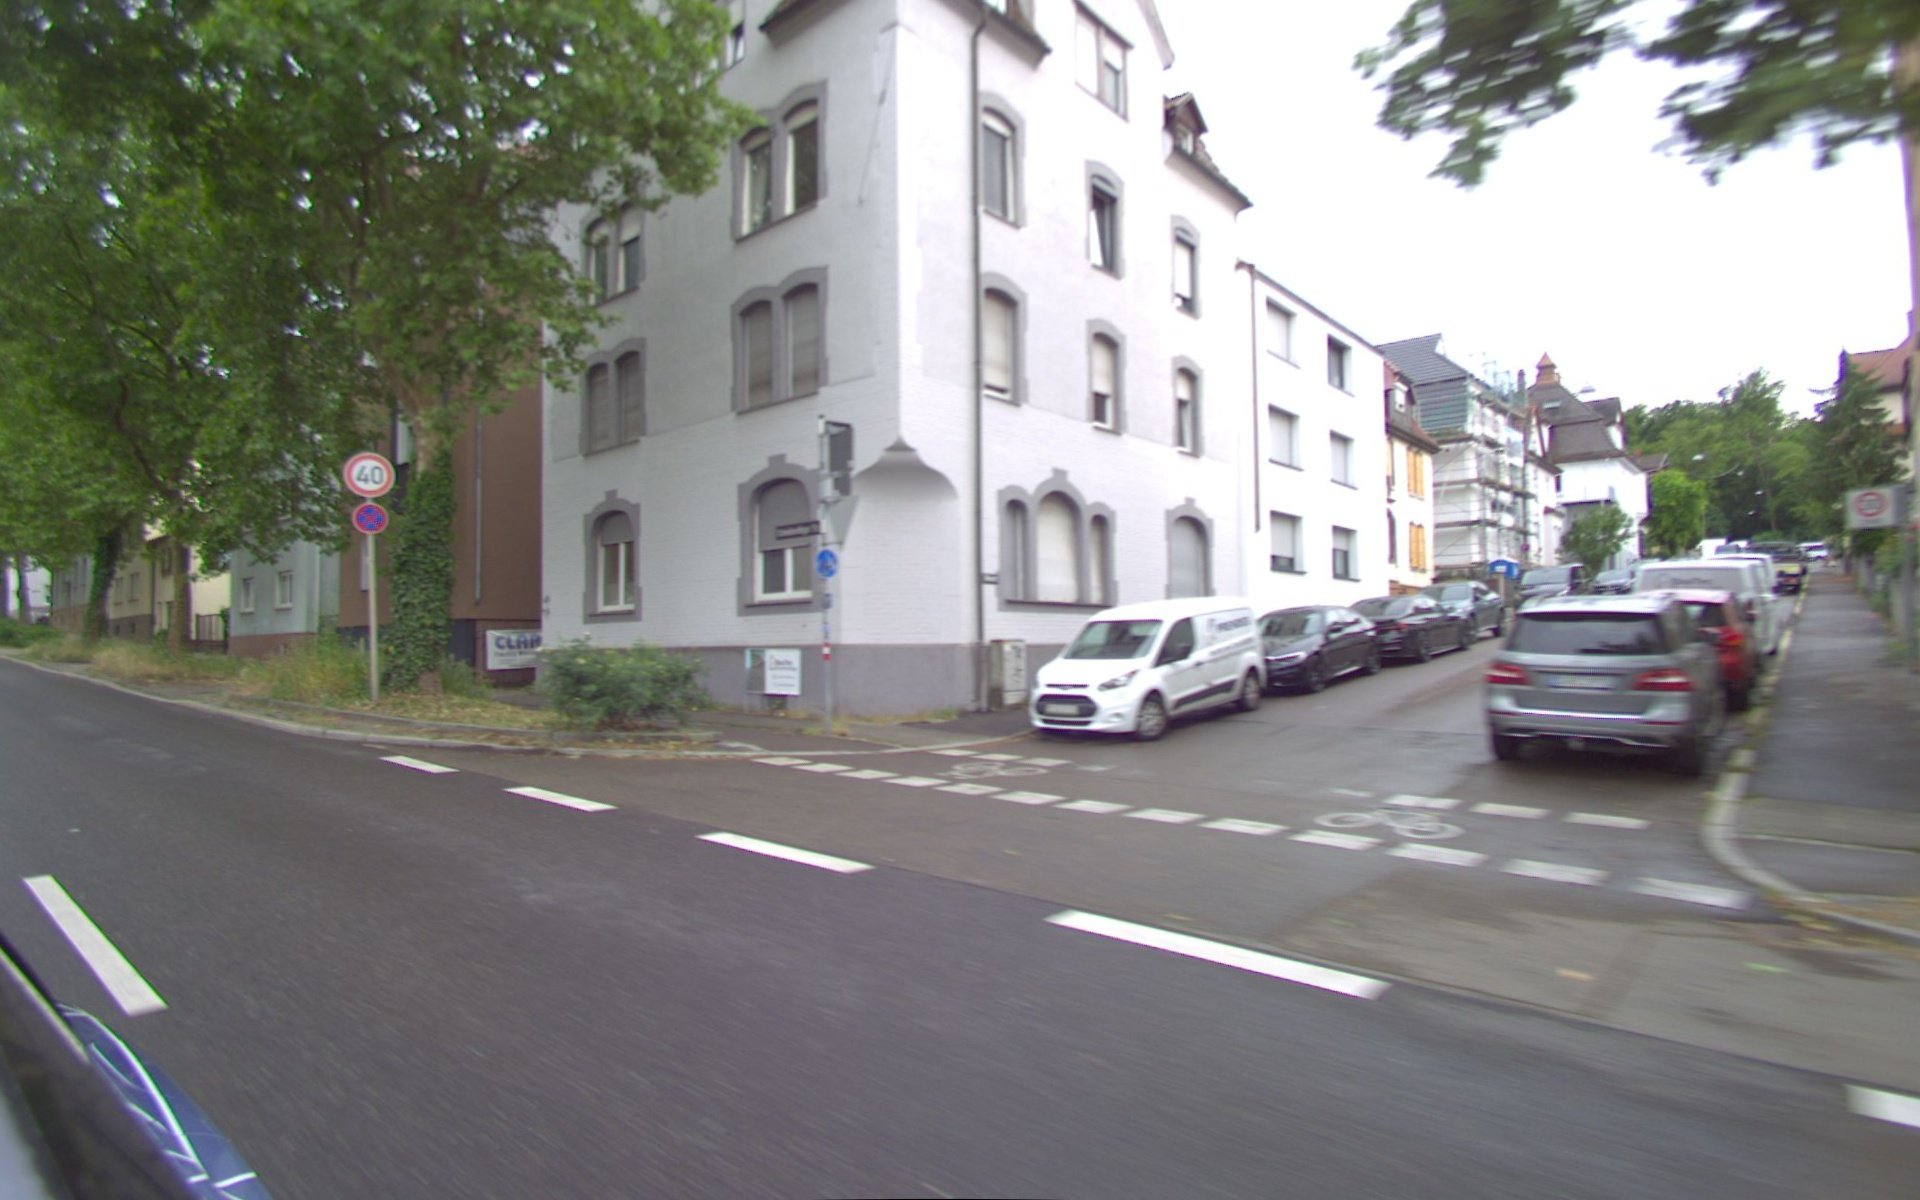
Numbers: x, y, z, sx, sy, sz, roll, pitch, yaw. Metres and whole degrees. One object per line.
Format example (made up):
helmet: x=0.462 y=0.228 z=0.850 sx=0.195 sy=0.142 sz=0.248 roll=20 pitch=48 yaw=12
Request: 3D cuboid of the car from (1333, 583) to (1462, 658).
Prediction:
car: x=9.719 y=0.398 z=22.368 sx=1.634 sy=1.394 sz=3.534 roll=-1 pitch=2 yaw=41

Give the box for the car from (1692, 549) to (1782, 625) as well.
car: x=21.417 y=-0.402 z=27.852 sx=1.720 sy=1.935 sz=3.542 roll=0 pitch=2 yaw=42

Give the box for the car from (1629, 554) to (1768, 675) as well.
car: x=13.834 y=0.182 z=18.868 sx=1.805 sy=1.948 sz=3.990 roll=-1 pitch=2 yaw=40

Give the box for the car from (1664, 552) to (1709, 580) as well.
car: x=48.384 y=-2.246 z=67.356 sx=2.000 sy=1.741 sz=3.944 roll=-1 pitch=0 yaw=42

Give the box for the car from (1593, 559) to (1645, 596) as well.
car: x=31.148 y=-1.064 z=47.799 sx=1.602 sy=1.499 sz=3.338 roll=-1 pitch=4 yaw=42

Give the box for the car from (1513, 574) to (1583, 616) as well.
car: x=21.639 y=-0.201 z=37.201 sx=1.728 sy=1.363 sz=3.184 roll=-1 pitch=2 yaw=40

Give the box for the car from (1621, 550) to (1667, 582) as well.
car: x=38.143 y=-1.918 z=56.373 sx=1.728 sy=1.677 sz=3.534 roll=-1 pitch=2 yaw=41

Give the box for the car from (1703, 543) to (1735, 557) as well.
car: x=95.759 y=-6.260 z=127.664 sx=2.854 sy=1.677 sz=1.413 roll=-2 pitch=2 yaw=13

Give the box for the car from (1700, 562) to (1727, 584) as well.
car: x=65.773 y=-2.334 z=88.319 sx=1.587 sy=1.763 sz=3.818 roll=-1 pitch=0 yaw=42

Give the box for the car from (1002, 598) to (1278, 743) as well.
car: x=2.851 y=0.900 z=15.199 sx=2.019 sy=1.791 sz=4.622 roll=-1 pitch=0 yaw=40

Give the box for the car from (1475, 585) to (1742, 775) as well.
car: x=7.376 y=0.702 z=11.318 sx=2.041 sy=1.623 sz=4.074 roll=-1 pitch=2 yaw=40

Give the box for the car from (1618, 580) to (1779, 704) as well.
car: x=11.027 y=0.529 z=15.013 sx=1.640 sy=1.529 sz=3.784 roll=-1 pitch=1 yaw=40

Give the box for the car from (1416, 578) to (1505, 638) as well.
car: x=13.222 y=0.182 z=26.672 sx=1.338 sy=1.463 sz=3.219 roll=-1 pitch=0 yaw=41

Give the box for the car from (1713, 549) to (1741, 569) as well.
car: x=75.969 y=-4.069 z=100.256 sx=1.999 sy=1.793 sz=3.946 roll=-1 pitch=0 yaw=41

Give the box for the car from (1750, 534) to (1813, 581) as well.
car: x=39.443 y=-2.044 z=48.555 sx=2.107 sy=2.028 sz=4.228 roll=0 pitch=4 yaw=42

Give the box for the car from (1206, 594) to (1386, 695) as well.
car: x=6.359 y=0.750 z=18.918 sx=1.792 sy=1.498 sz=3.946 roll=-1 pitch=2 yaw=41
